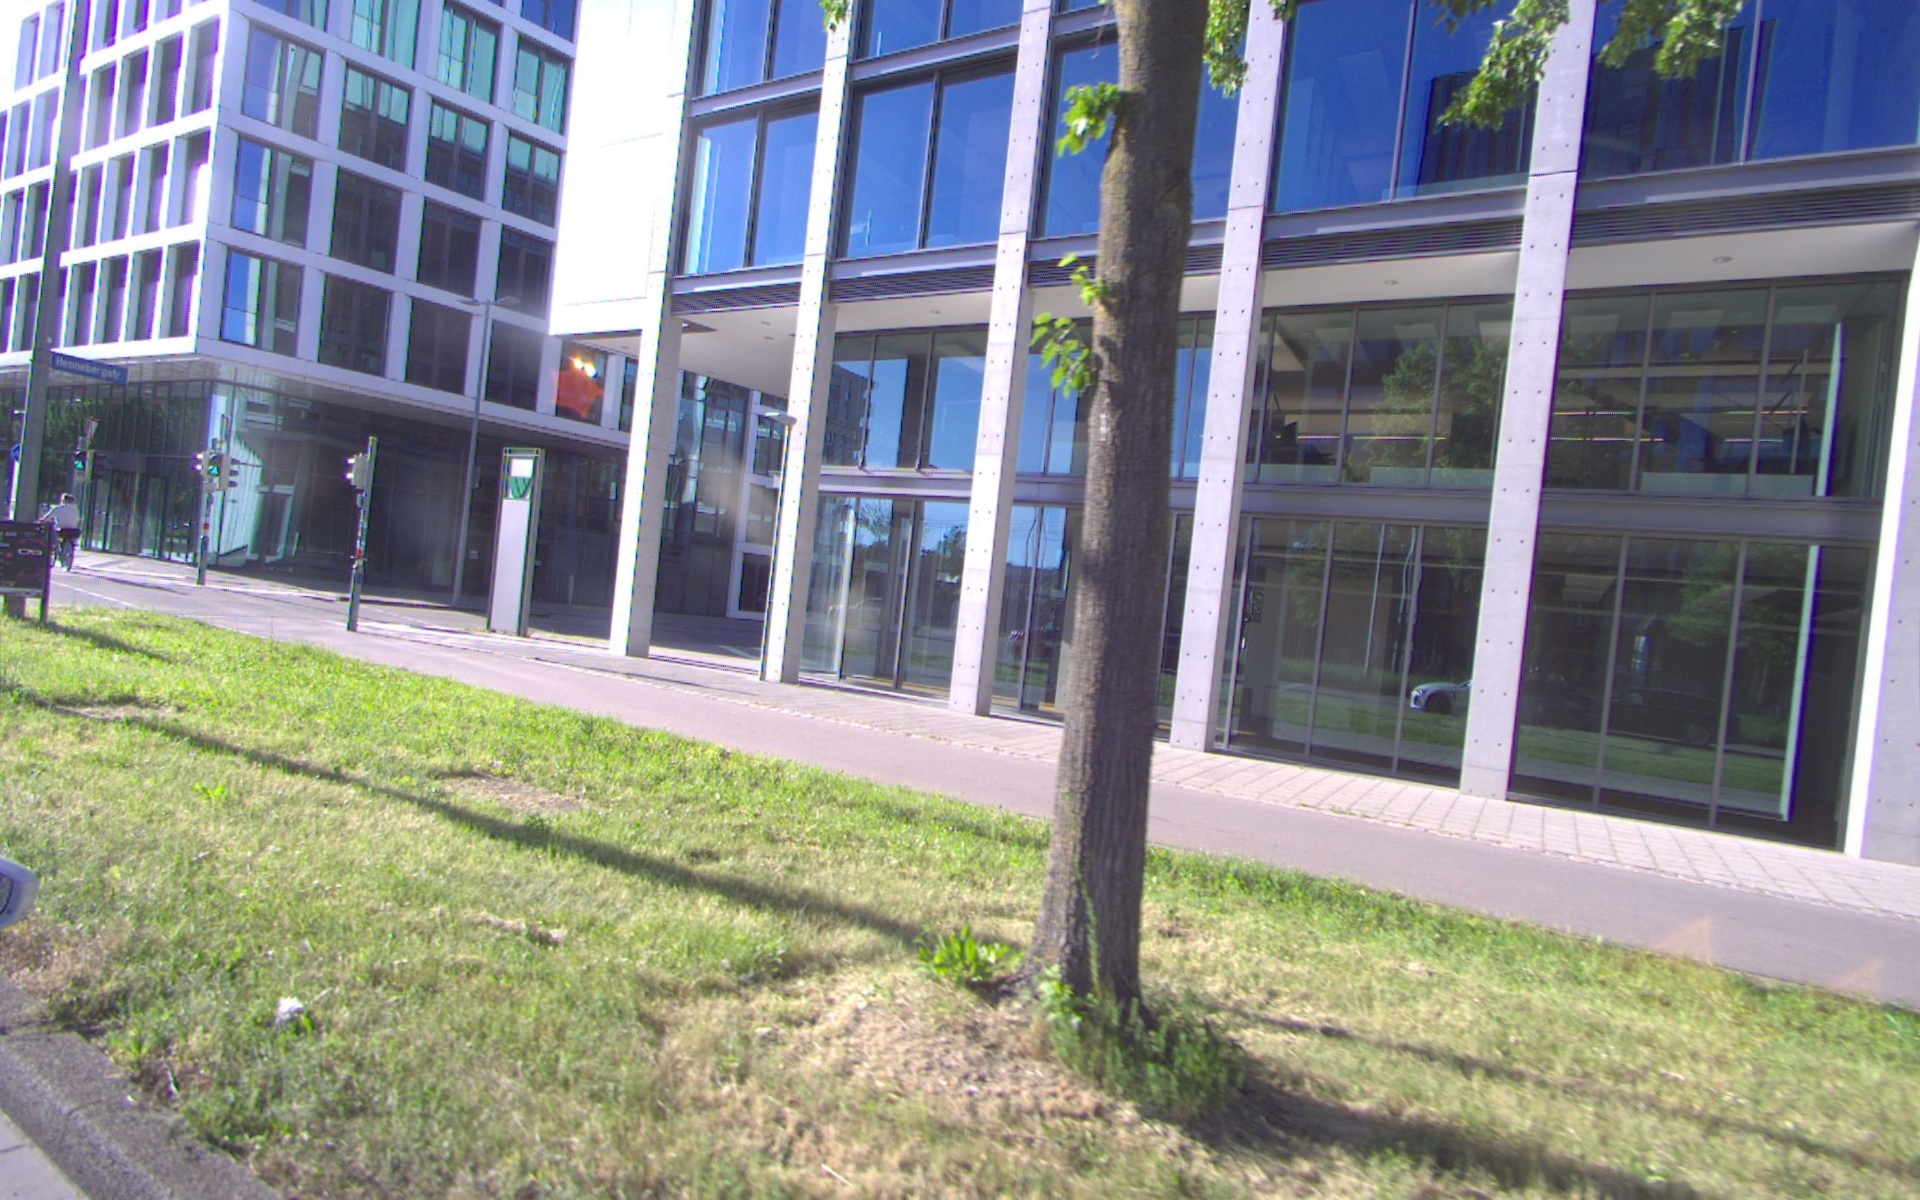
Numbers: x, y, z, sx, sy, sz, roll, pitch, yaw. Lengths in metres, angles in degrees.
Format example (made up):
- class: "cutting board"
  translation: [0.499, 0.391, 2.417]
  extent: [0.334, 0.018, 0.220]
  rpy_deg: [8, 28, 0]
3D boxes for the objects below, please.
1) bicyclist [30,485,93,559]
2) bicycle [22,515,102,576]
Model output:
- class: "bicyclist"
  translation: [-20.408, -1.761, 22.842]
  extent: [0.835, 1.550, 0.772]
  rpy_deg: [7, 1, 31]
- class: "bicycle"
  translation: [-20.398, -1.244, 22.843]
  extent: [1.928, 1.188, 0.742]
  rpy_deg: [6, 0, 31]
